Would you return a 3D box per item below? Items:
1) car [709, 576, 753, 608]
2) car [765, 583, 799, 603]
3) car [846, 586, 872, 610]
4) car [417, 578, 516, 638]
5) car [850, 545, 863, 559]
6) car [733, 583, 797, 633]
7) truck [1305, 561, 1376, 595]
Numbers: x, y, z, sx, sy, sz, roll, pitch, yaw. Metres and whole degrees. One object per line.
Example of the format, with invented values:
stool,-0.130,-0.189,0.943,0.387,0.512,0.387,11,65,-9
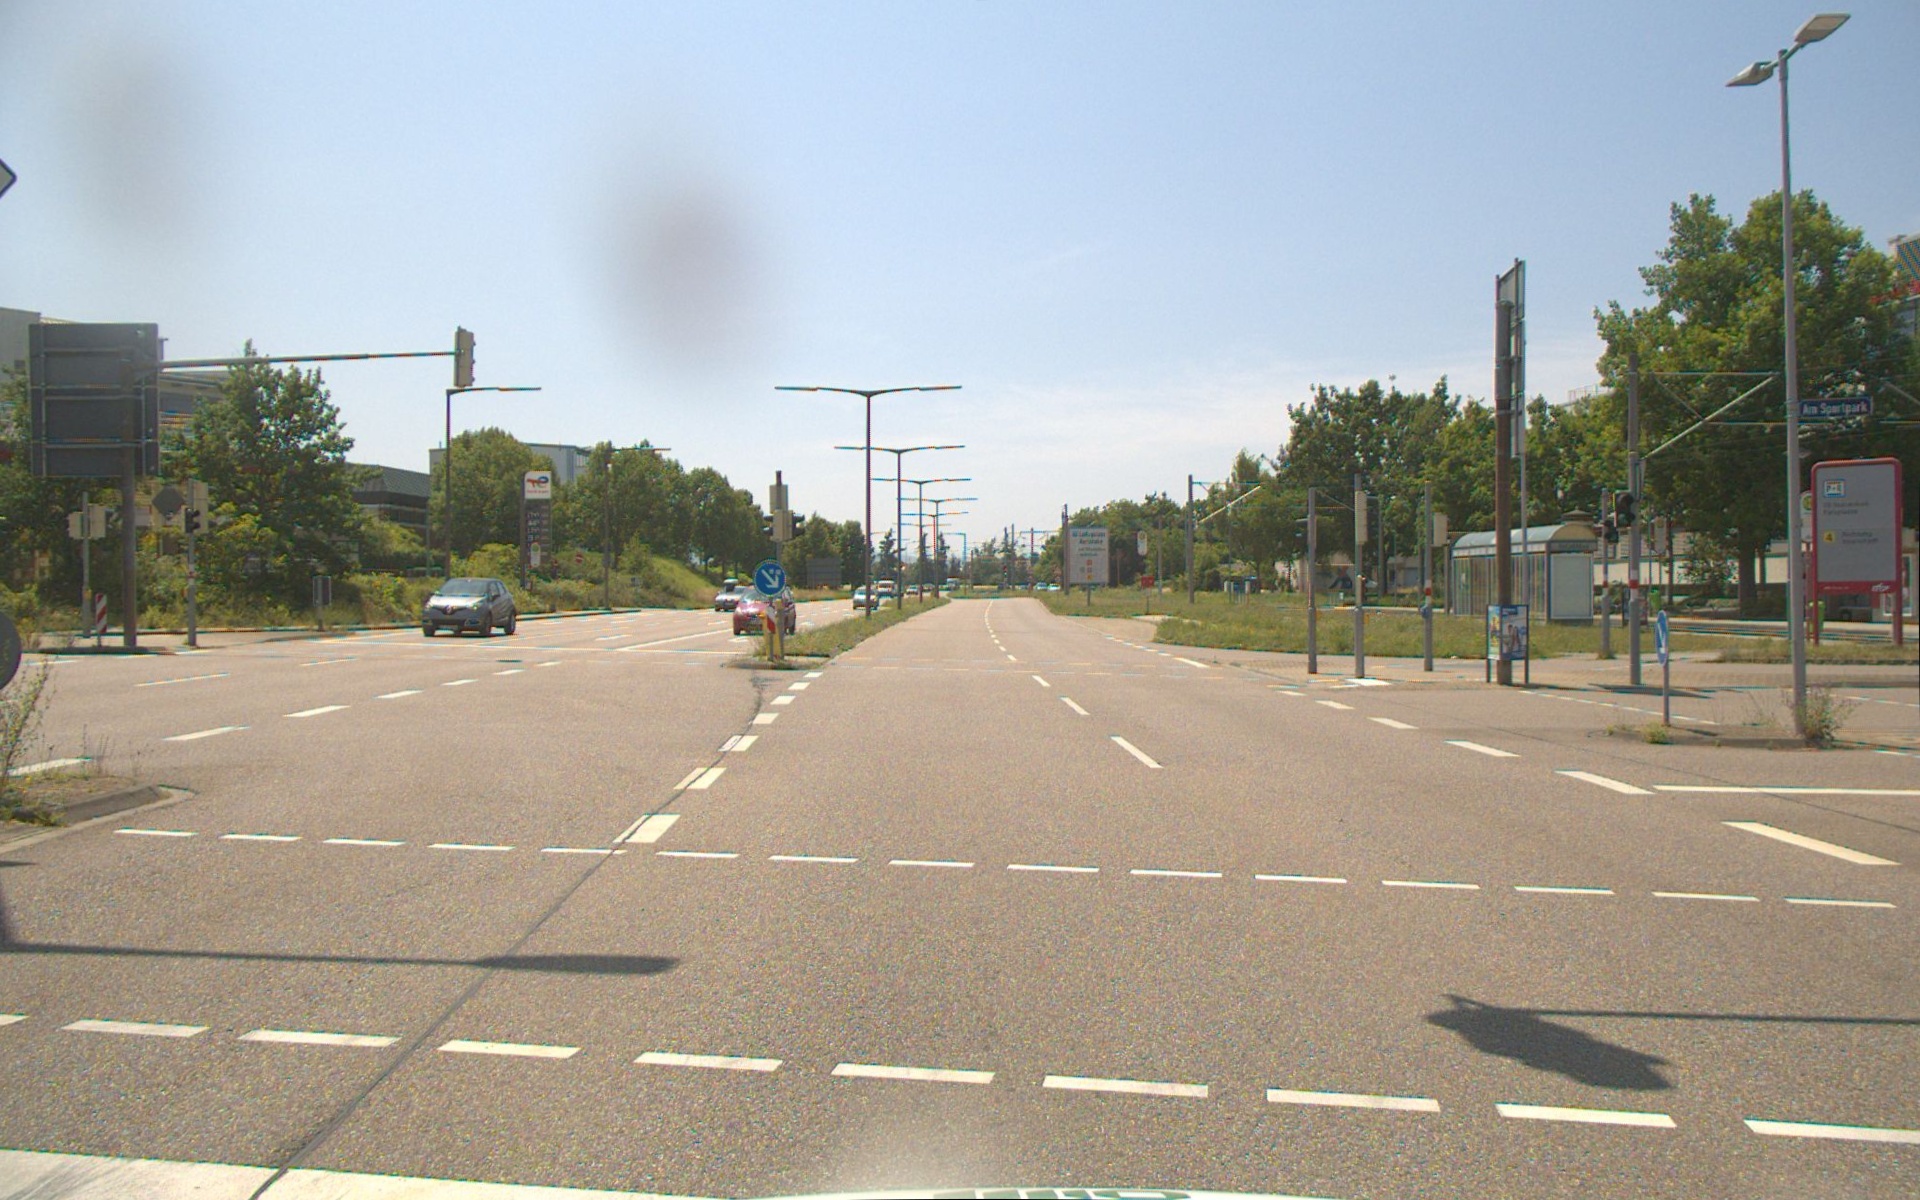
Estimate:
car,-12.947,-0.464,93.792,1.925,1.780,5.021,0,1,-2
car,-13.189,-0.530,122.532,1.784,1.475,3.830,0,0,5
car,-6.614,-0.155,108.629,1.529,1.448,3.853,0,1,-2
car,-13.555,0.195,45.661,1.625,1.566,3.999,0,1,-2
car,-15.639,-7.233,249.526,1.954,2.049,3.997,1,0,-4
car,-6.124,0.223,52.219,1.625,1.516,3.999,0,1,-2
truck,34.191,-1.962,148.820,5.730,2.893,2.316,-2,0,-8
